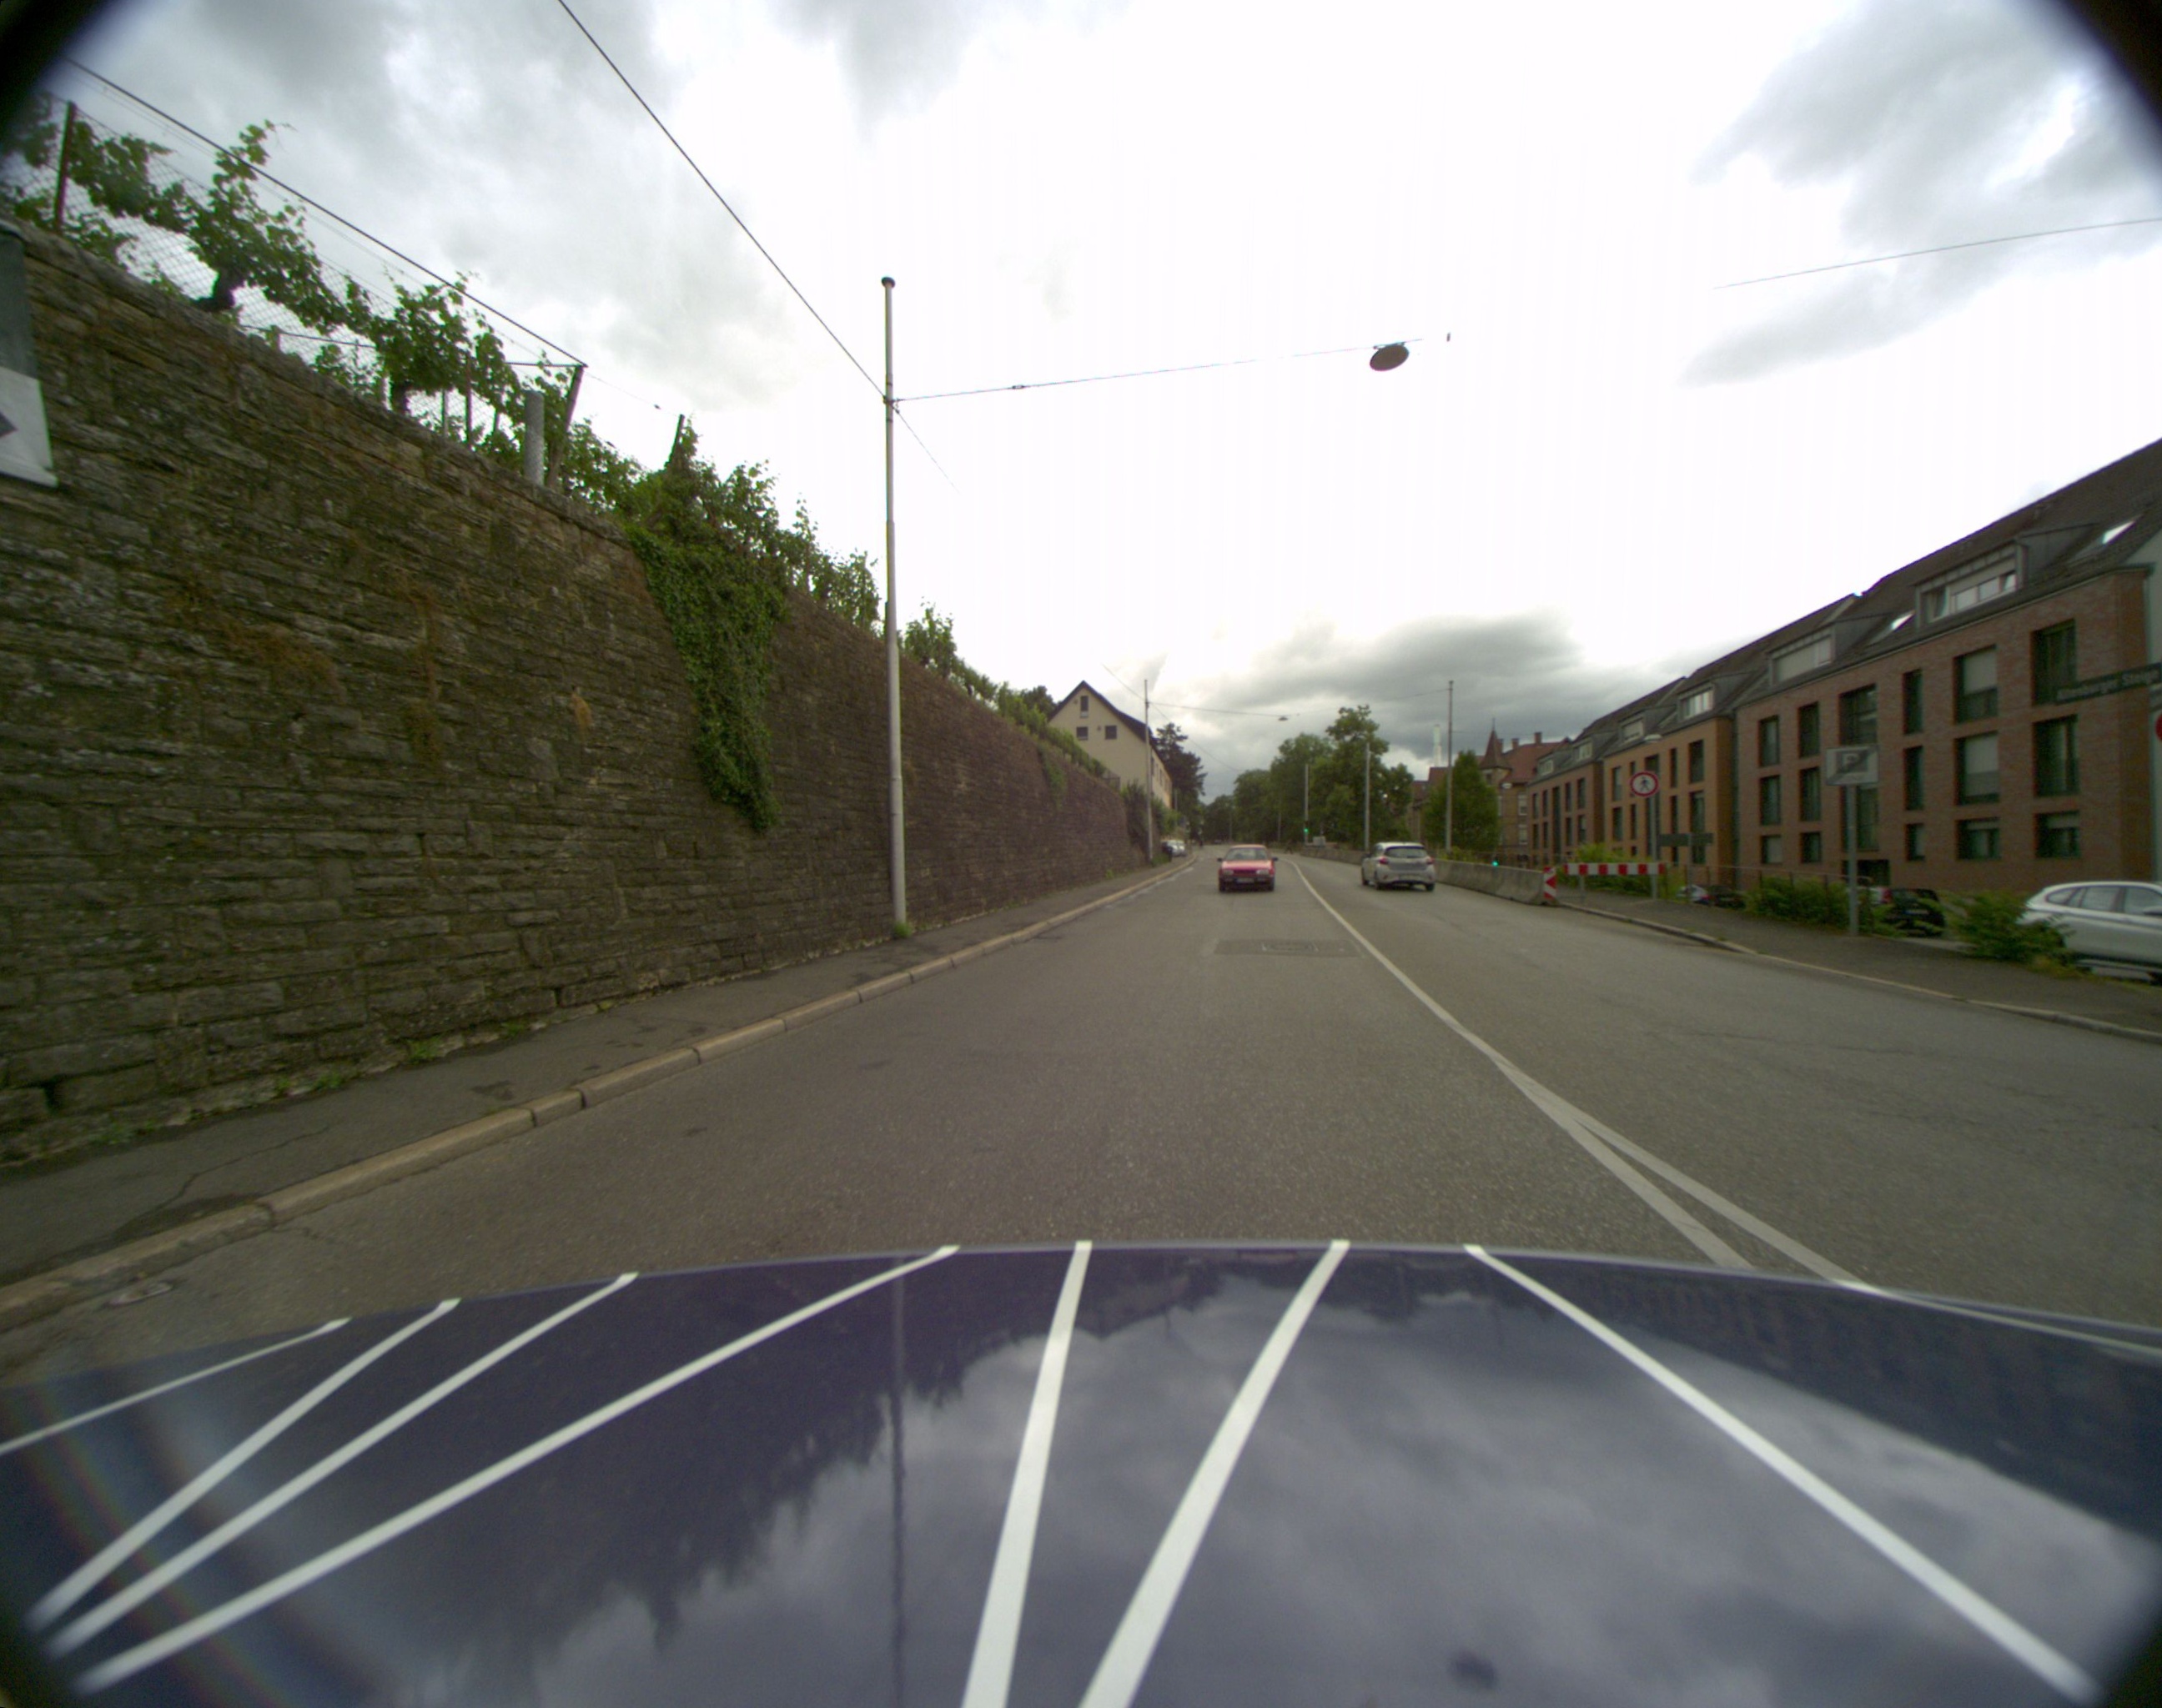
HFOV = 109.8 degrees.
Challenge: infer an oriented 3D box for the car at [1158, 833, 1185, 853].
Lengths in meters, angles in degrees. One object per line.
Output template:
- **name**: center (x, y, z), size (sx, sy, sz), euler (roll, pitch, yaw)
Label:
- **car**: center (7.866, -0.970, 65.664), size (1.797, 1.566, 4.058), euler (-2, 2, 13)

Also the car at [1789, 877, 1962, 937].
- **car**: center (26.243, 1.673, 25.336), size (1.997, 1.652, 4.003), euler (1, 1, 11)

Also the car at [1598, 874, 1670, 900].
- **car**: center (31.177, 1.839, 43.004), size (1.996, 1.302, 4.005), euler (1, 0, 16)

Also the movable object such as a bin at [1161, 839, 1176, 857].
- **movable object such as a bin**: center (5.671, -0.395, 49.190), size (0.810, 1.120, 0.875), euler (-1, 2, 12)

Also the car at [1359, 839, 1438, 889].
- **car**: center (10.111, 0.299, 24.419), size (1.672, 1.459, 3.646), euler (1, 1, 12)

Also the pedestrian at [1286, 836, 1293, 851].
- **pedestrian**: center (22.866, -1.155, 83.284), size (0.734, 1.702, 0.697), euler (-1, 2, 16)

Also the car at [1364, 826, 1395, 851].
- **car**: center (32.296, -1.714, 82.463), size (2.562, 2.567, 5.740), euler (-2, 2, 16)

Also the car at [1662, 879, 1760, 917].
- **car**: center (29.492, 2.003, 35.751), size (1.996, 1.477, 4.004), euler (1, 1, 14)

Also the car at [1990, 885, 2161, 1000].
- **car**: center (16.859, 1.356, 11.450), size (1.830, 1.505, 4.427), euler (-1, 1, 15)

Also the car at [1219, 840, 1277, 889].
- **car**: center (5.290, 0.291, 24.378), size (1.645, 1.430, 4.003), euler (-1, 1, 11)

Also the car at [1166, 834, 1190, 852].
- **car**: center (8.969, -1.047, 70.194), size (1.730, 1.566, 4.252), euler (-2, 2, 13)

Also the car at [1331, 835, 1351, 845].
- **car**: center (33.276, -1.806, 97.316), size (1.996, 1.346, 4.003), euler (1, 2, 13)
